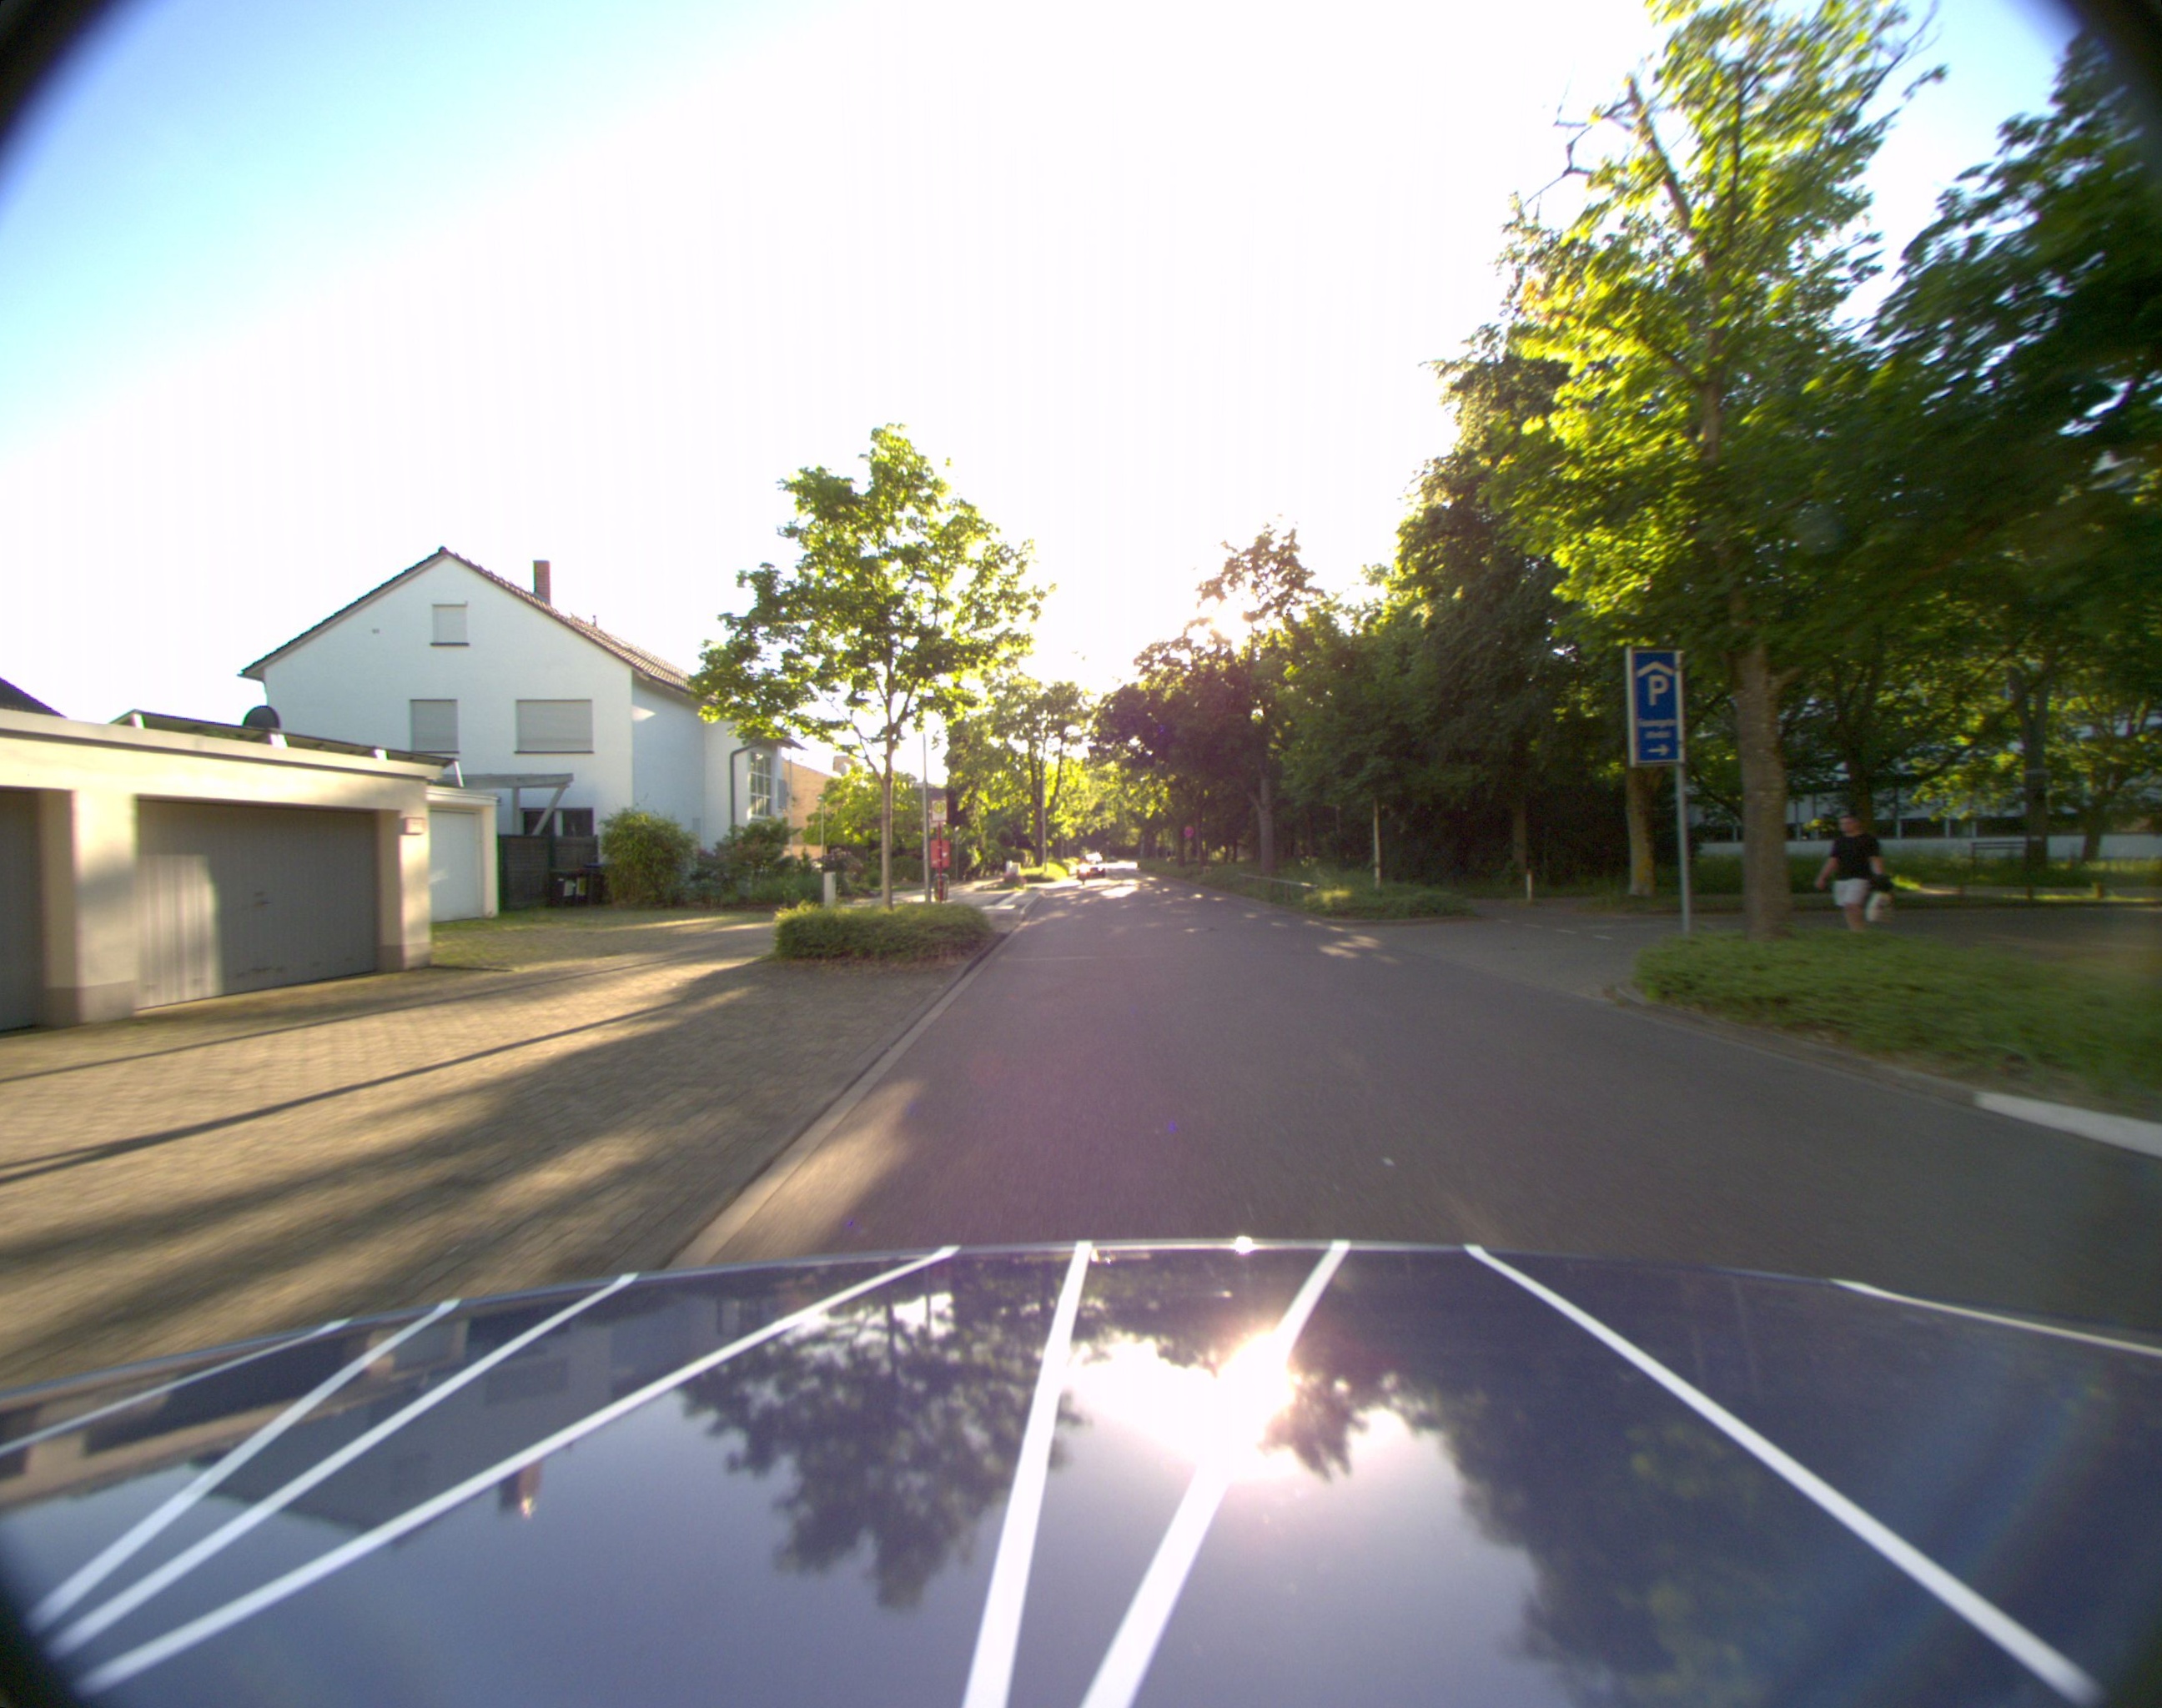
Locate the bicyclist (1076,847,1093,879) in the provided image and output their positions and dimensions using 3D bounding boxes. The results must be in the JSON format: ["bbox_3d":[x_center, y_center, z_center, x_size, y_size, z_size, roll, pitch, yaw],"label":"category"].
[{"bbox_3d":[0.192,0.485,40.447,0.819,1.635,0.744,-2,1,0],"label":"bicyclist"}]

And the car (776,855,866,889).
[{"bbox_3d":[-12.450,0.851,36.512,3.742,1.493,1.690,-1,0,-4],"label":"car"}]

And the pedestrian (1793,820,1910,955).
[{"bbox_3d":[10.788,0.461,10.668,0.905,1.810,0.720,-1,1,-2],"label":"pedestrian"}]

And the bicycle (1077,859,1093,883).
[{"bbox_3d":[0.202,0.898,40.508,0.829,1.182,2.302,-2,0,0],"label":"bicycle"}]
